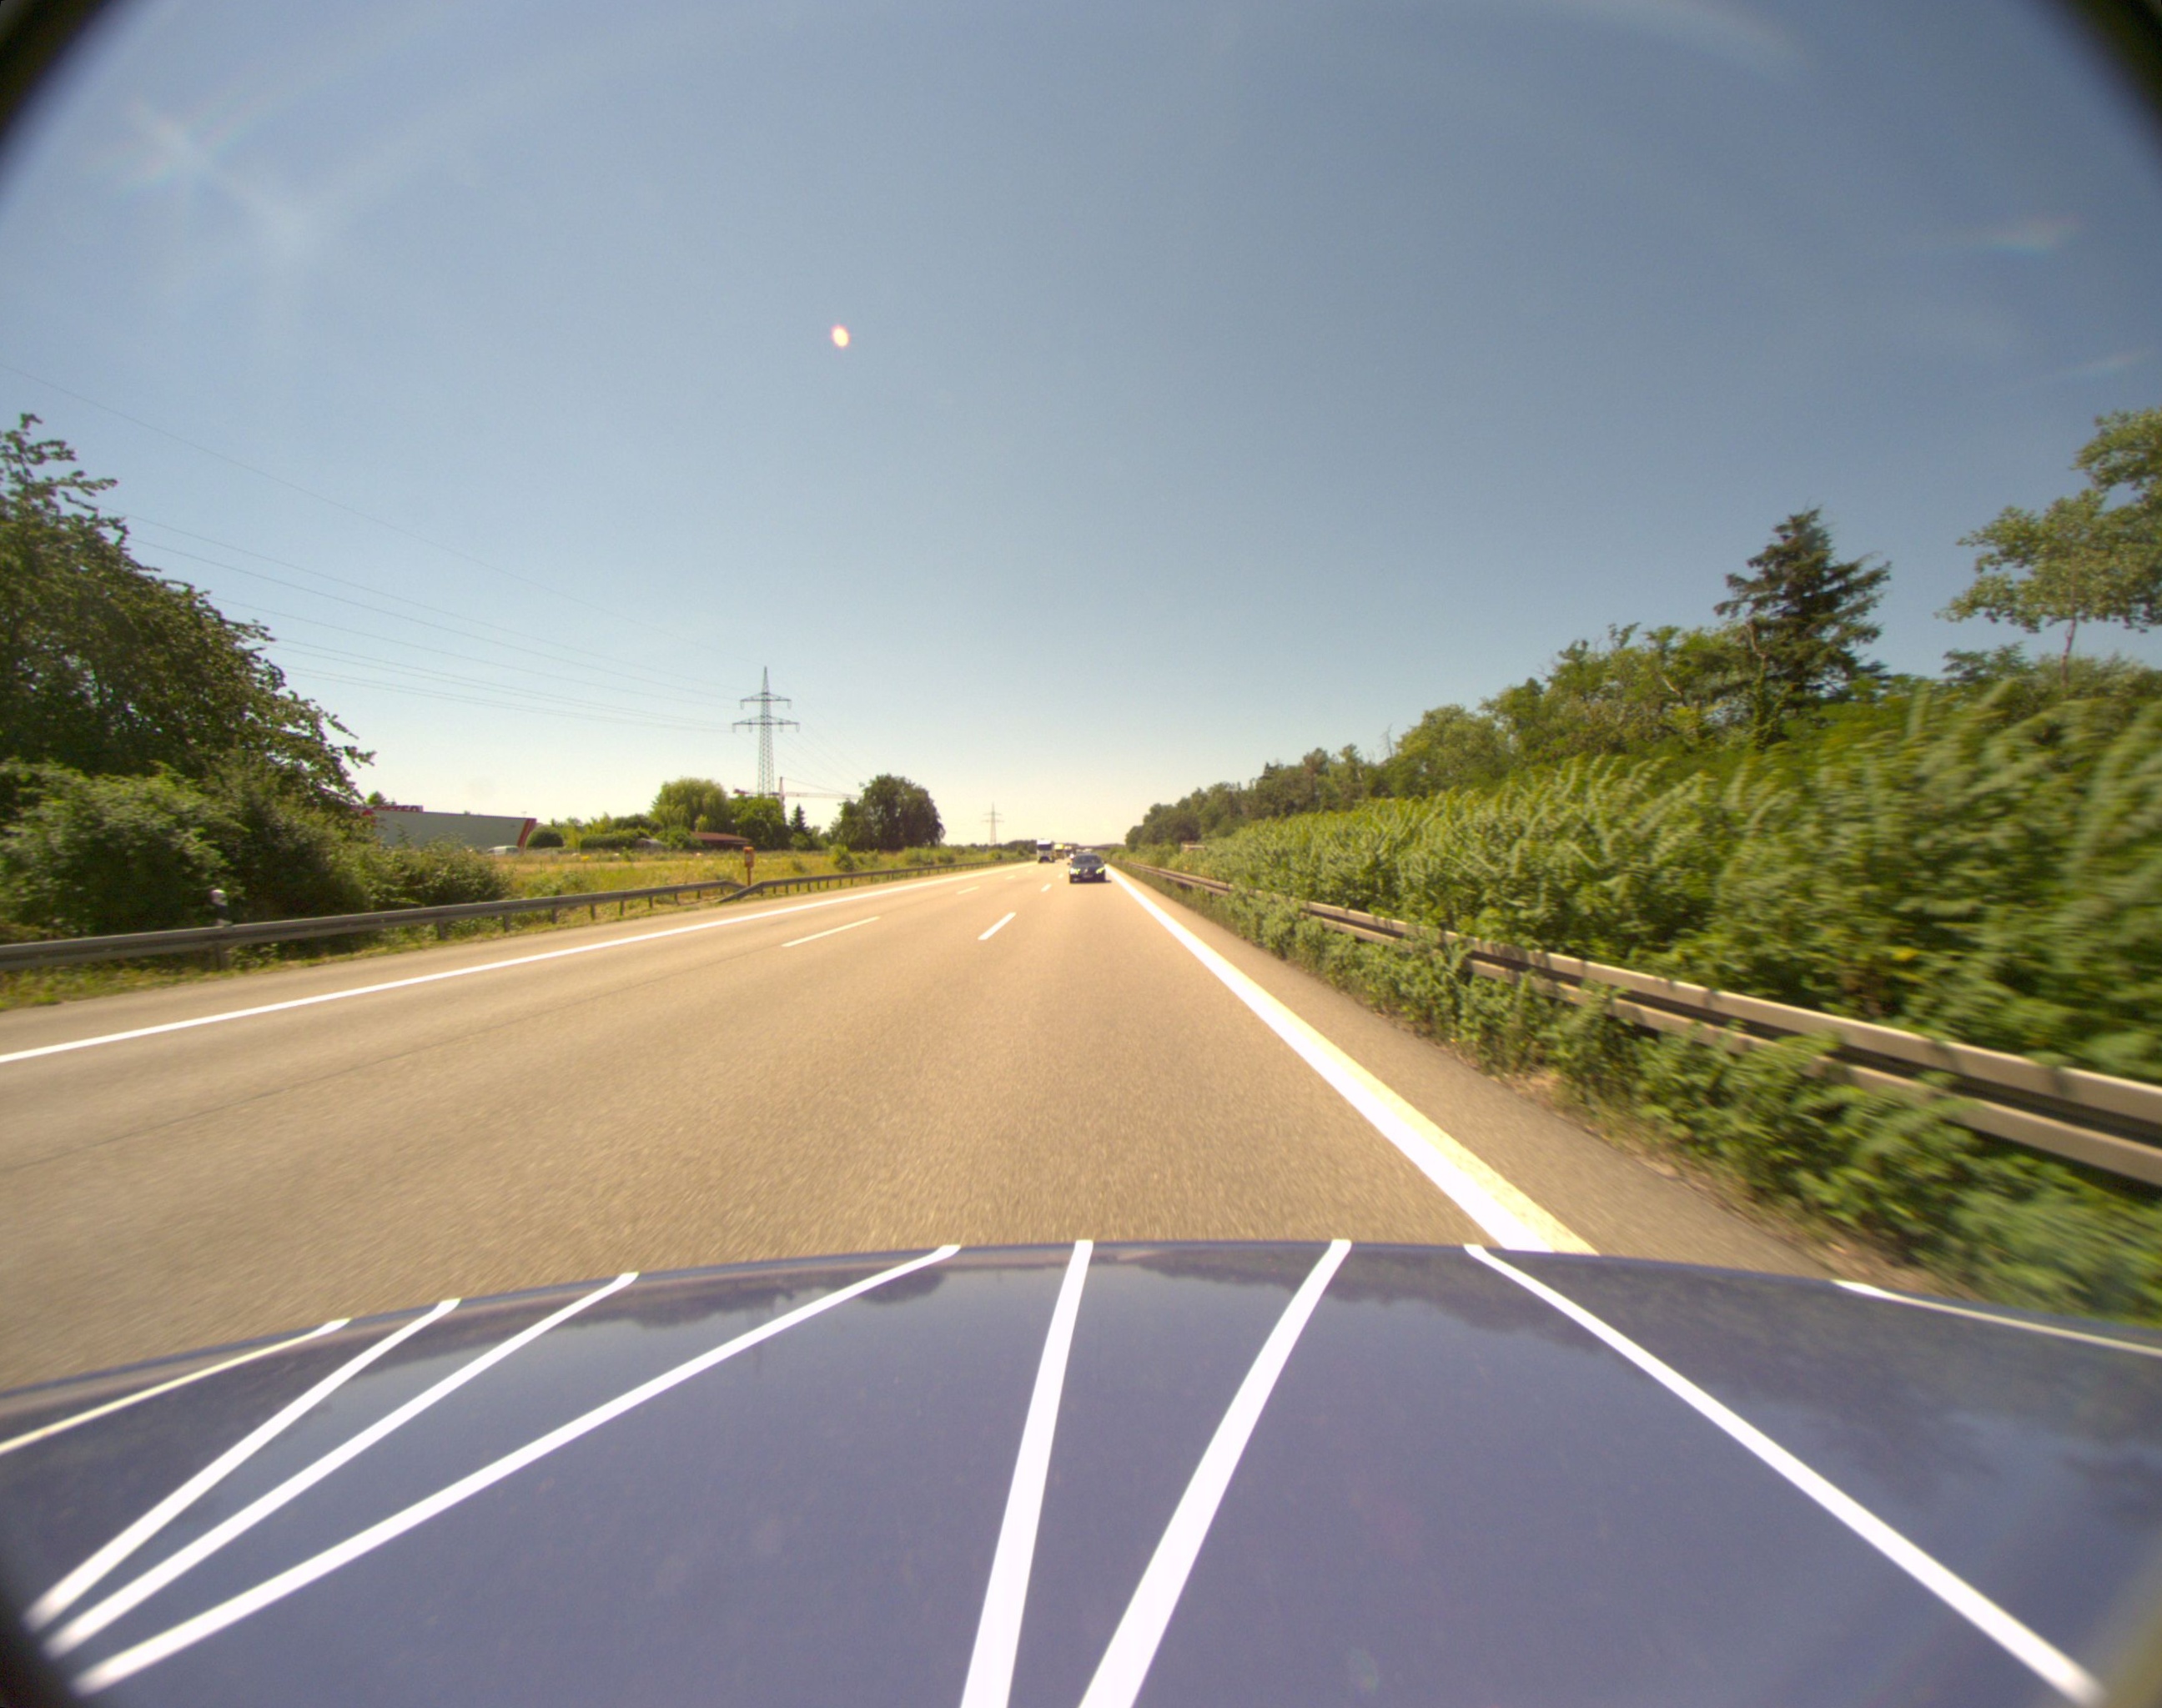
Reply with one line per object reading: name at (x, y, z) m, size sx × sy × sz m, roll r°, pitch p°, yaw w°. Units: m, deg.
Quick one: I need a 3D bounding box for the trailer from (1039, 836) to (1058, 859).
trailer at (-5.739, -1.240, 136.260) m, size 2.573 × 3.871 × 13.278 m, roll -2°, pitch 1°, yaw 0°

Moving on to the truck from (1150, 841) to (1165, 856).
truck at (19.378, -1.374, 192.696) m, size 2.545 × 3.613 × 11.843 m, roll 1°, pitch 1°, yaw 0°

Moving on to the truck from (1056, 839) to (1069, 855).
truck at (-4.924, -1.948, 202.685) m, size 2.978 × 4.240 × 12.609 m, roll 0°, pitch 1°, yaw 0°

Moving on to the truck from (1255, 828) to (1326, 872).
truck at (17.639, -0.345, 65.009) m, size 2.794 × 3.413 × 11.980 m, roll 1°, pitch 1°, yaw 1°

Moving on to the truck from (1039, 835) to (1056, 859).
truck at (-5.736, -1.187, 129.903) m, size 2.573 × 3.871 × 5.722 m, roll -2°, pitch 1°, yaw 0°

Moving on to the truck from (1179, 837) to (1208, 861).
truck at (18.438, -0.773, 125.283) m, size 2.907 × 3.684 × 11.898 m, roll 1°, pitch 0°, yaw 1°

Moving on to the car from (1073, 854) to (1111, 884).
car at (0.554, 0.726, 39.603) m, size 1.808 × 1.385 × 3.999 m, roll -2°, pitch 1°, yaw 0°

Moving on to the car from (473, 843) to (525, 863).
car at (-64.151, -0.094, 83.748) m, size 3.998 × 2.002 × 1.999 m, roll -2°, pitch 1°, yaw -3°
